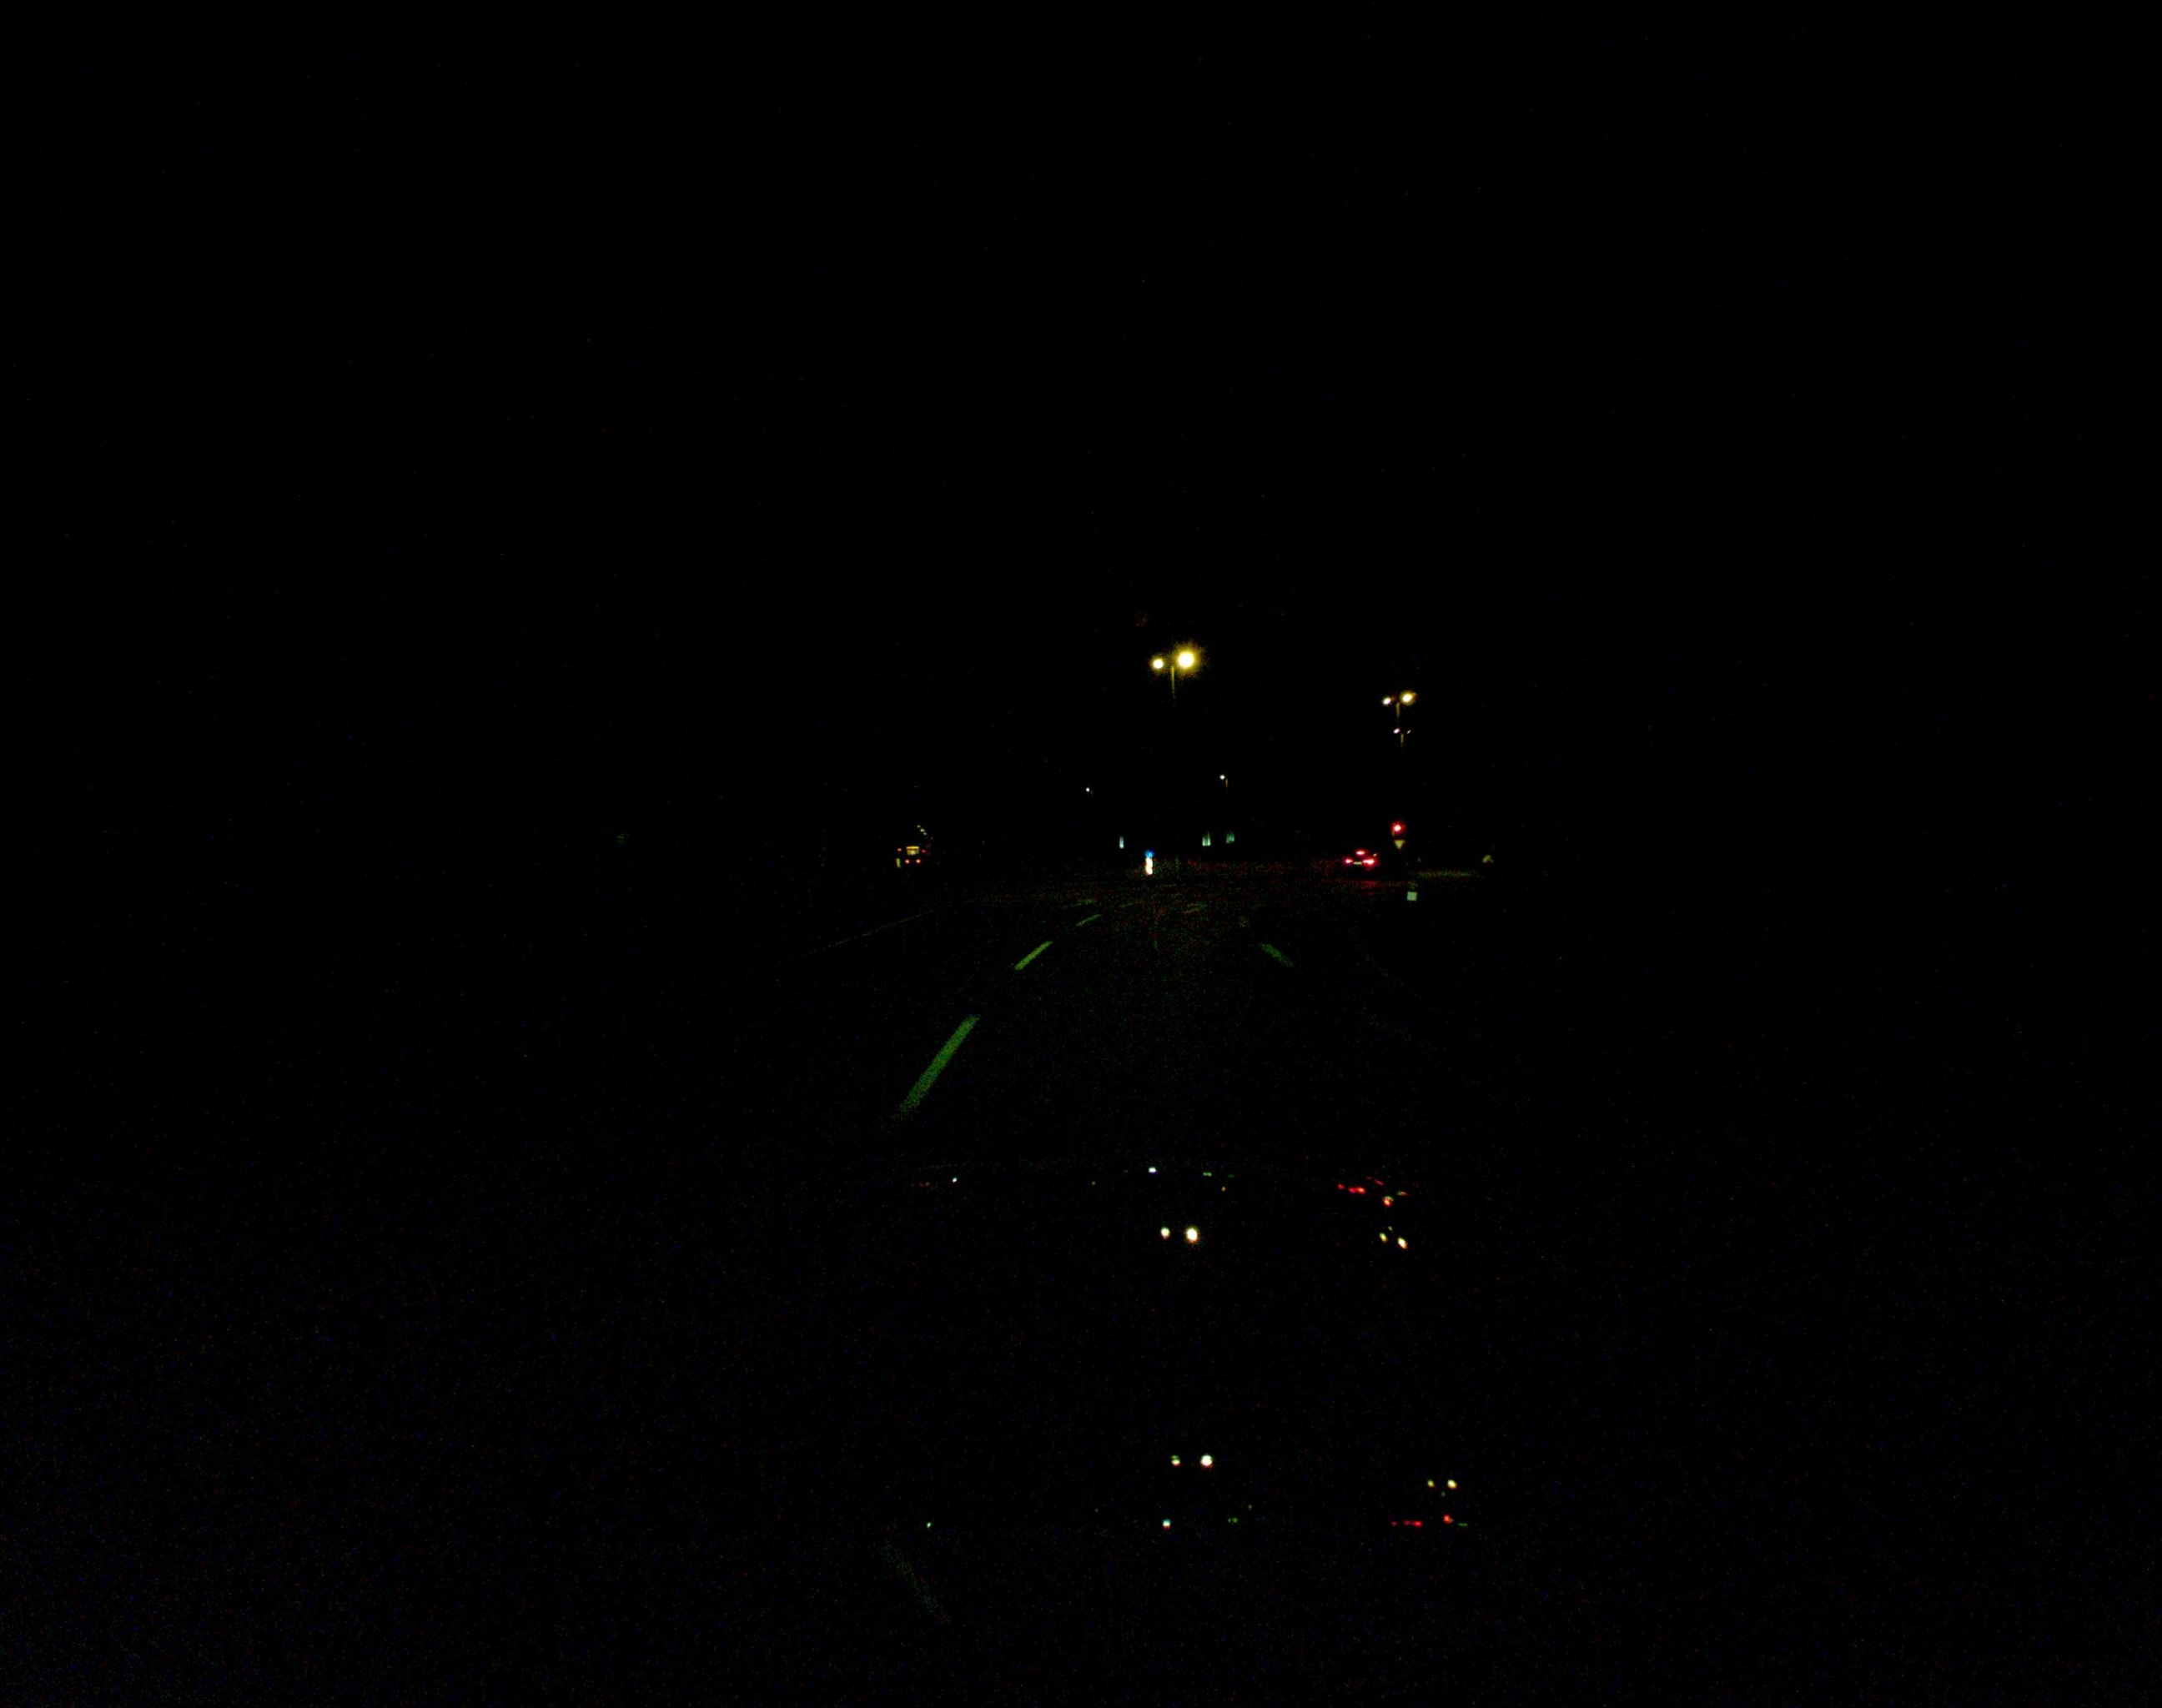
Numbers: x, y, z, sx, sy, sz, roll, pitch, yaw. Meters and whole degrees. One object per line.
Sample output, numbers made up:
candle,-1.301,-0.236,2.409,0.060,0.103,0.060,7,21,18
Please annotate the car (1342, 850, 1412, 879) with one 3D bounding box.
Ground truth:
car,16.709,0.570,45.941,4.025,1.582,1.837,0,1,-37
